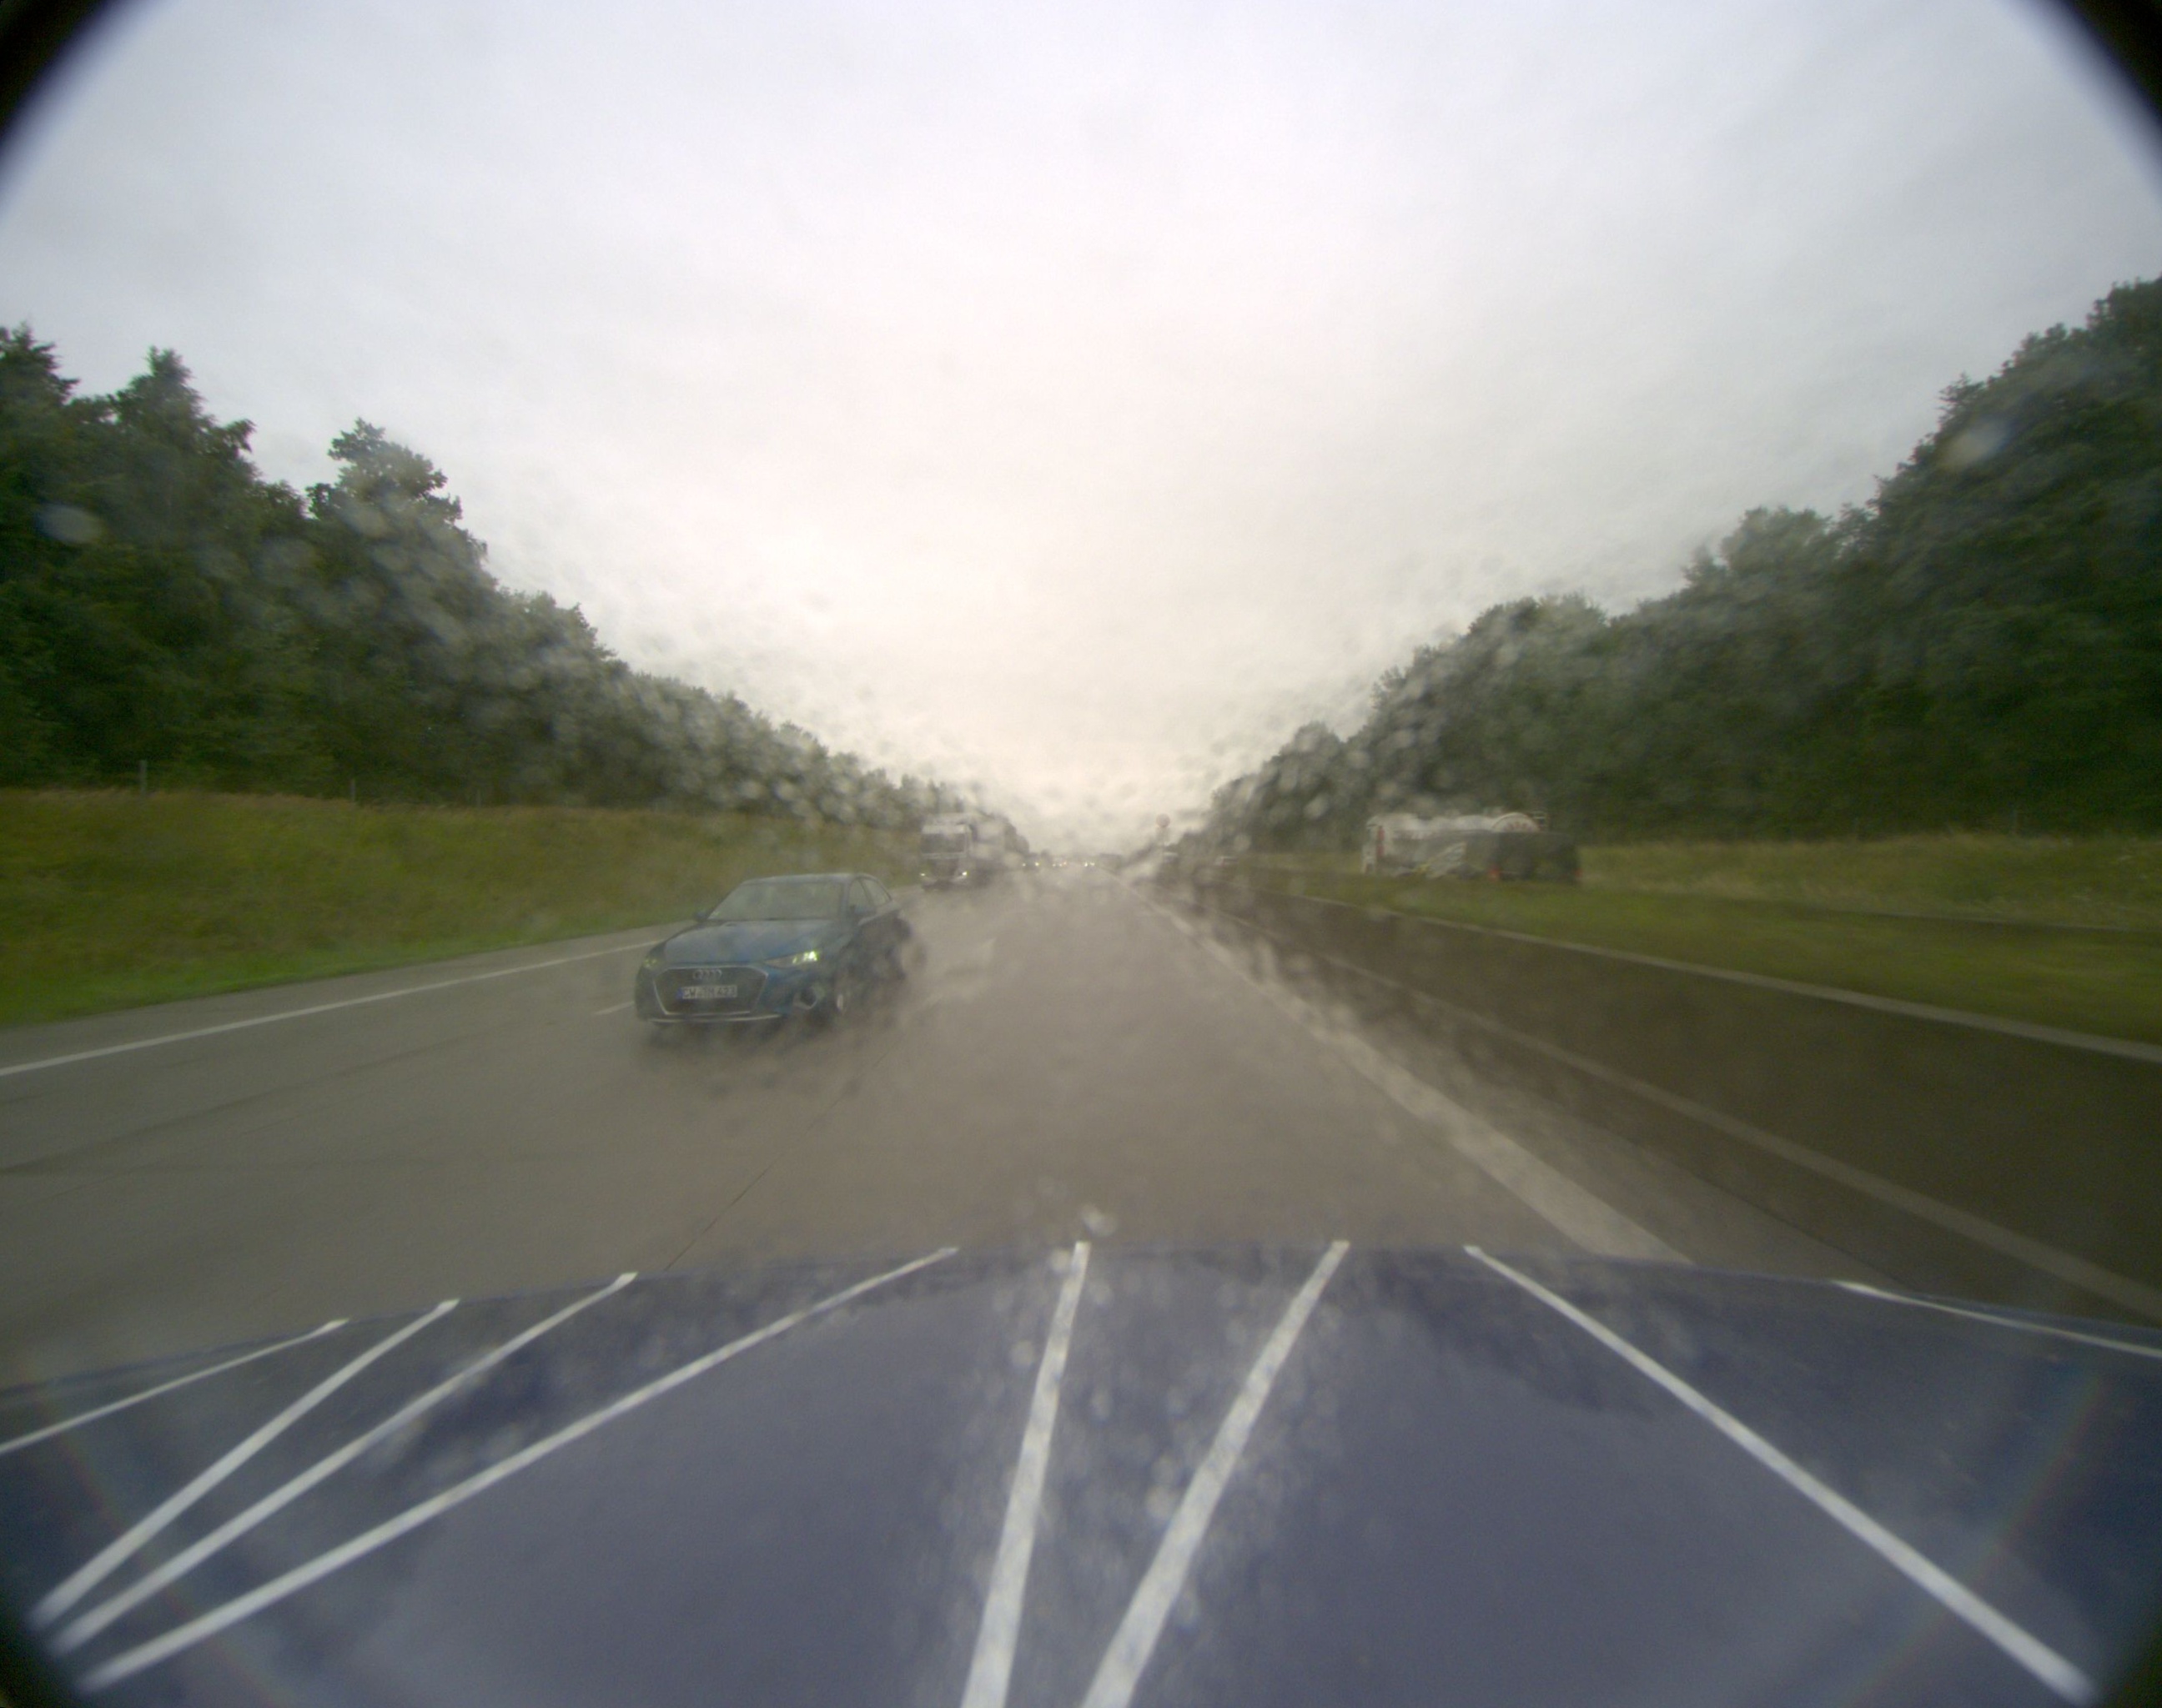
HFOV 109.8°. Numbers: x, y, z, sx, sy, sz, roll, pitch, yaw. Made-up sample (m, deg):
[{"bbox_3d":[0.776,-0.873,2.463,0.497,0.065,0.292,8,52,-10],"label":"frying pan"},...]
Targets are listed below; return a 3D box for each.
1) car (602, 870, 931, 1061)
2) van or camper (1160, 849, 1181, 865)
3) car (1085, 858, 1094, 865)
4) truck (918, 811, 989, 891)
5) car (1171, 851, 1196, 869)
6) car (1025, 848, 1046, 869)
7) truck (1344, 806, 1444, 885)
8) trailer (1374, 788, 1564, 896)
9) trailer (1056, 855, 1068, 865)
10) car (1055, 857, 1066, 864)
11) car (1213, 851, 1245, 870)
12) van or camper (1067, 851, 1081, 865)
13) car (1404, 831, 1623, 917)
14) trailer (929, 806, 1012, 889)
[{"bbox_3d":[-3.108,0.990,8.726,1.733,1.450,4.672,-1,0,1],"label":"car"},{"bbox_3d":[13.637,0.390,116.326,2.507,2.415,5.918,-1,0,0],"label":"van or camper"},{"bbox_3d":[1.837,1.605,163.093,1.733,1.450,4.672,-1,1,1],"label":"car"},{"bbox_3d":[-6.741,-0.134,41.070,2.643,3.930,5.686,-2,0,1],"label":"truck"},{"bbox_3d":[9.776,0.568,72.572,1.788,1.677,4.560,0,0,0],"label":"car"},{"bbox_3d":[-5.981,0.666,100.632,1.945,2.643,6.588,-3,-1,2],"label":"car"},{"bbox_3d":[16.396,-0.439,40.282,2.671,3.853,6.435,-1,0,0],"label":"truck"},{"bbox_3d":[16.432,-0.426,33.523,2.671,3.948,11.135,0,0,0],"label":"trailer"},{"bbox_3d":[-4.553,1.397,183.330,2.348,2.444,5.940,-1,0,2],"label":"trailer"},{"bbox_3d":[-4.729,1.522,177.340,1.998,1.575,5.955,-3,-1,2],"label":"car"},{"bbox_3d":[13.432,0.581,69.329,1.998,1.618,4.559,-1,0,0],"label":"car"},{"bbox_3d":[-1.400,0.758,147.460,2.233,2.537,7.951,-2,0,2],"label":"van or camper"},{"bbox_3d":[8.729,0.352,15.916,1.998,1.534,4.559,-1,0,0],"label":"car"},{"bbox_3d":[-6.657,-0.300,48.648,2.713,4.353,15.205,-3,0,1],"label":"trailer"}]
